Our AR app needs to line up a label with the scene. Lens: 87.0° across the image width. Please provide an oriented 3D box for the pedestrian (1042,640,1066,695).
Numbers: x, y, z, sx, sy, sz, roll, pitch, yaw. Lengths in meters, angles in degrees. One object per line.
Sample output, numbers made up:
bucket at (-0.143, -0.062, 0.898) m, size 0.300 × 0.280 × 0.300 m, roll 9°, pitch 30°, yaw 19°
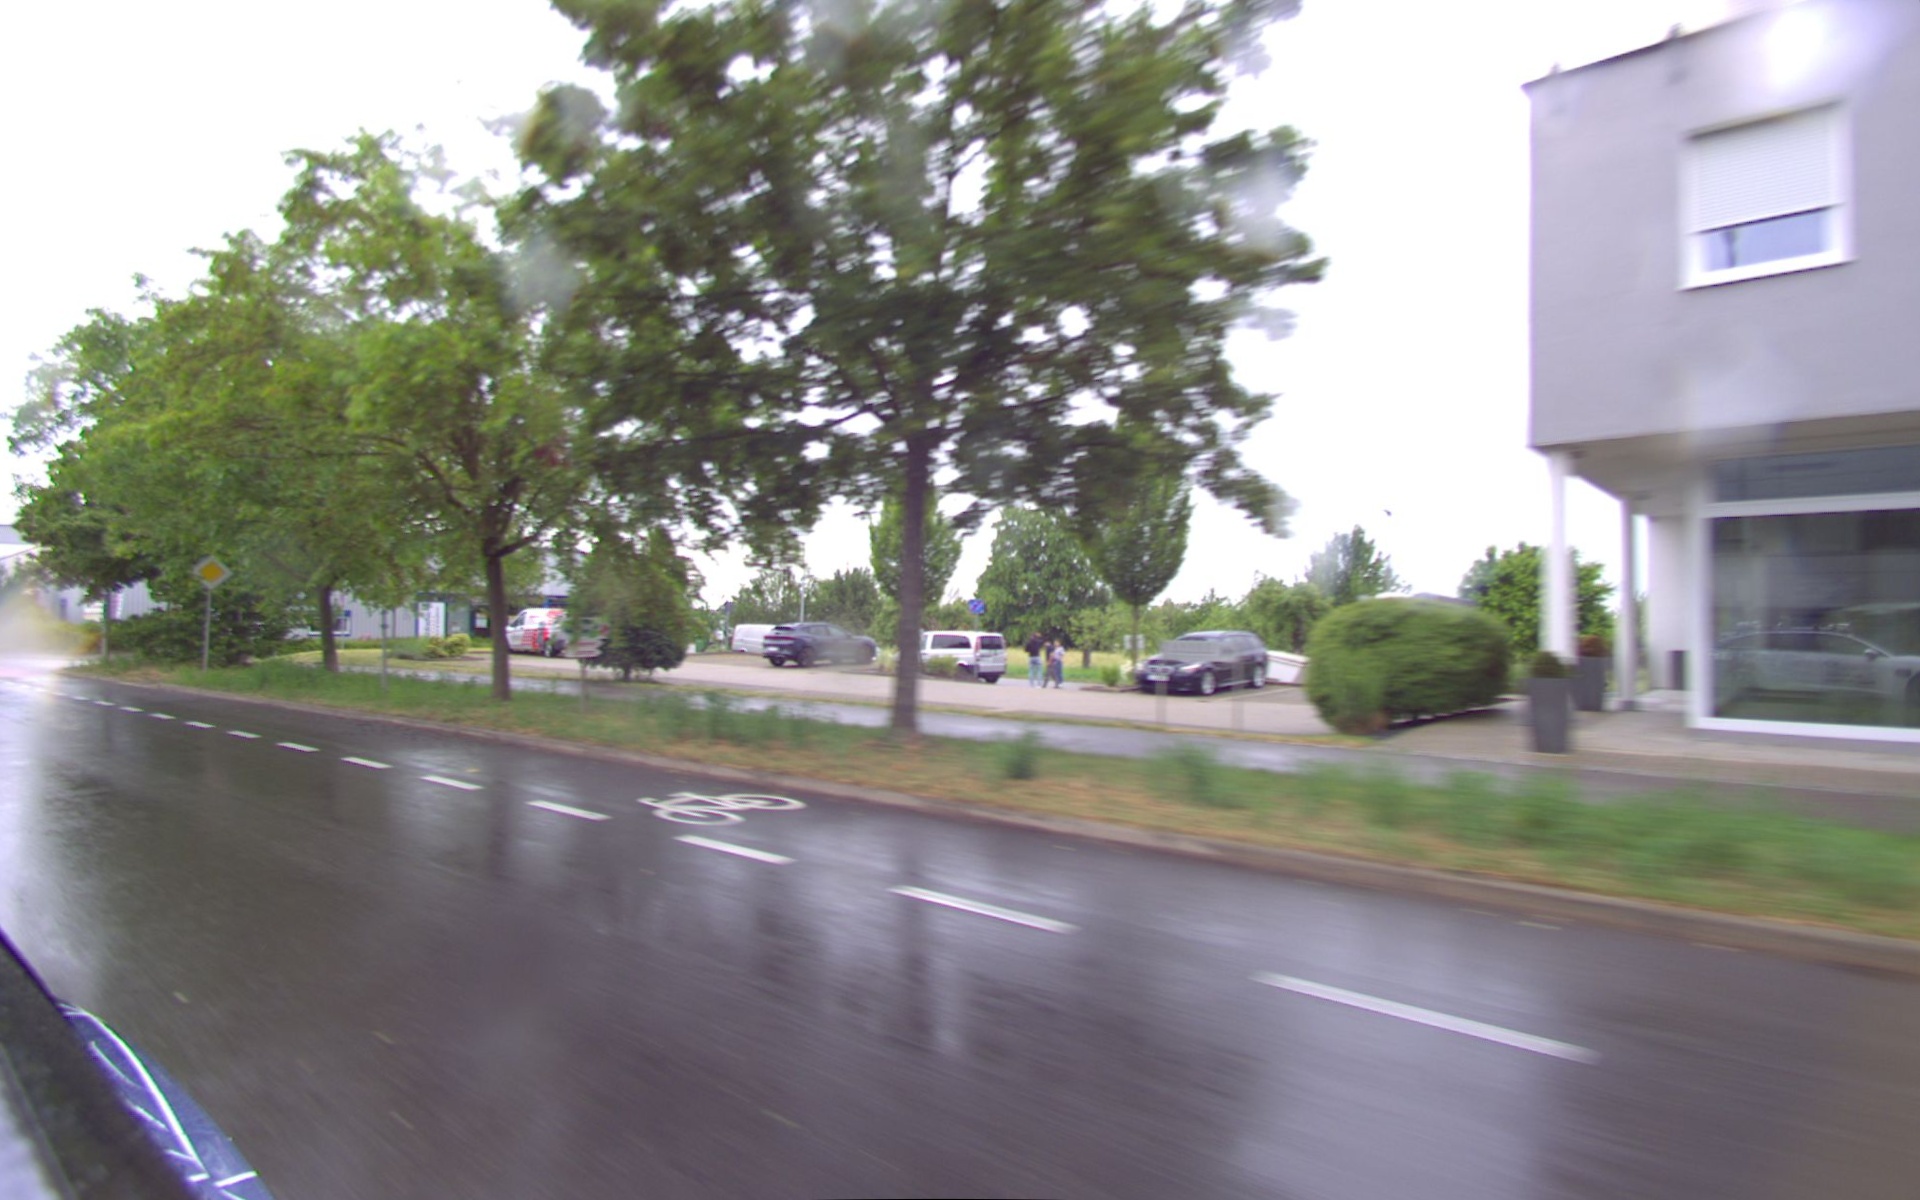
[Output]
pedestrian at (3.254, 2.332, 35.074) m, size 0.757 × 1.851 × 0.682 m, roll -2°, pitch -1°, yaw 10°

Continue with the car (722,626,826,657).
car at (-8.239, 1.837, 44.658) m, size 4.653 × 1.239 × 1.961 m, roll -2°, pitch -2°, yaw 40°

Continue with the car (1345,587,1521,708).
car at (10.334, 0.949, 21.955) m, size 2.184 × 2.328 × 4.429 m, roll -3°, pitch -2°, yaw 42°

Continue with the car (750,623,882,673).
car at (-4.990, 1.638, 35.390) m, size 4.105 × 1.568 × 2.123 m, roll 0°, pitch -1°, yaw -44°

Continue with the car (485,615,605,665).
car at (-16.613, 1.585, 40.402) m, size 5.603 × 1.836 × 2.013 m, roll -2°, pitch -2°, yaw 39°

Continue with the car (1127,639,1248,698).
car at (5.642, 1.632, 24.869) m, size 1.702 × 1.253 × 3.370 m, roll -2°, pitch -1°, yaw 36°

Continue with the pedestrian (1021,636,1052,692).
pedestrian at (2.552, 2.129, 33.806) m, size 0.764 × 1.851 × 0.676 m, roll -2°, pitch -2°, yaw 34°
